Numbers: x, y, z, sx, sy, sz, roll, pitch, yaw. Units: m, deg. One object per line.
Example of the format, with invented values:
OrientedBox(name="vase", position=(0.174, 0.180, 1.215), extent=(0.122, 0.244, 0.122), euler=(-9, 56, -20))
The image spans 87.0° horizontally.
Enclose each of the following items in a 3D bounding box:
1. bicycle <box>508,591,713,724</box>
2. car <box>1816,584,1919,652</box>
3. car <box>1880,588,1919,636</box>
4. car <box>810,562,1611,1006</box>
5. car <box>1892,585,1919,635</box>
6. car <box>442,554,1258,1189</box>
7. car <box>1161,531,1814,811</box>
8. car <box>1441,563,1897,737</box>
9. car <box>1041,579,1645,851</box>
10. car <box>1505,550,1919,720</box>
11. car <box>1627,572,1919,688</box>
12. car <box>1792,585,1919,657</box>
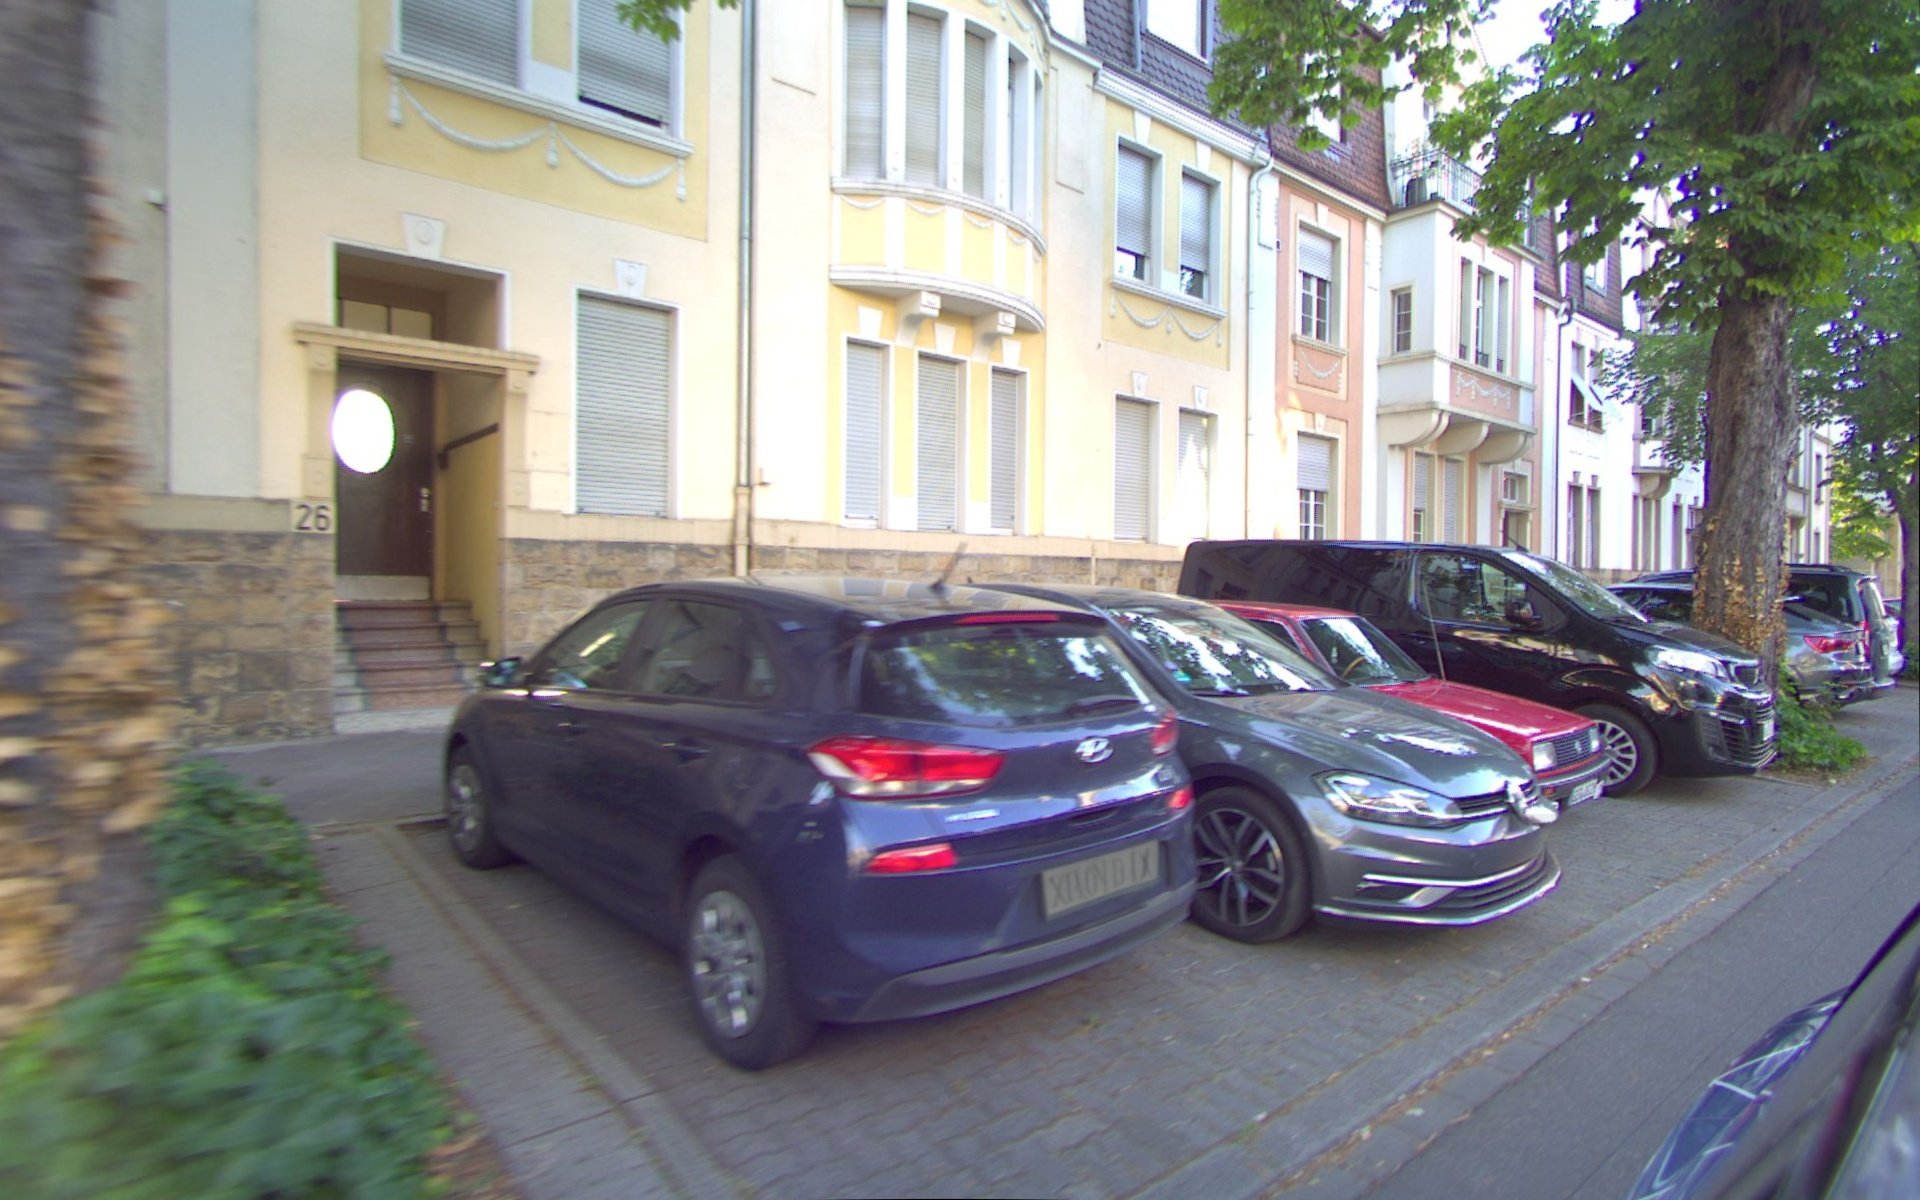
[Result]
OrientedBox(name="bicycle", position=(-3.136, 0.479, 9.171), extent=(1.673, 1.089, 0.501), euler=(0, 3, -40))
OrientedBox(name="car", position=(22.597, 0.449, 23.722), extent=(1.510, 1.482, 3.623), euler=(0, 3, -39))
OrientedBox(name="car", position=(29.847, 0.412, 29.991), extent=(1.510, 1.420, 3.622), euler=(0, 2, -39))
OrientedBox(name="car", position=(0.966, 0.565, 5.538), extent=(1.600, 1.439, 4.057), euler=(-1, 4, -41))
OrientedBox(name="car", position=(31.892, 0.370, 31.801), extent=(1.510, 1.584, 3.622), euler=(0, 2, -39))
OrientedBox(name="car", position=(-0.836, 0.567, 4.325), extent=(1.600, 1.439, 3.757), euler=(-1, 4, -41))
OrientedBox(name="car", position=(4.354, 0.333, 9.070), extent=(1.850, 1.846, 4.828), euler=(-1, 4, -43))
OrientedBox(name="car", position=(8.173, 0.421, 11.990), extent=(1.568, 1.611, 4.167), euler=(-1, 4, -43))
OrientedBox(name="car", position=(2.545, 0.589, 7.506), extent=(1.531, 1.337, 3.919), euler=(-1, 4, -41))
OrientedBox(name="car", position=(9.777, 0.306, 13.420), extent=(1.568, 1.849, 4.167), euler=(-1, 4, -43))
OrientedBox(name="car", position=(13.220, 0.390, 16.499), extent=(1.512, 1.569, 3.618), euler=(0, 3, -43))
OrientedBox(name="car", position=(20.700, 0.471, 22.114), extent=(1.510, 1.420, 3.623), euler=(0, 3, -39))
